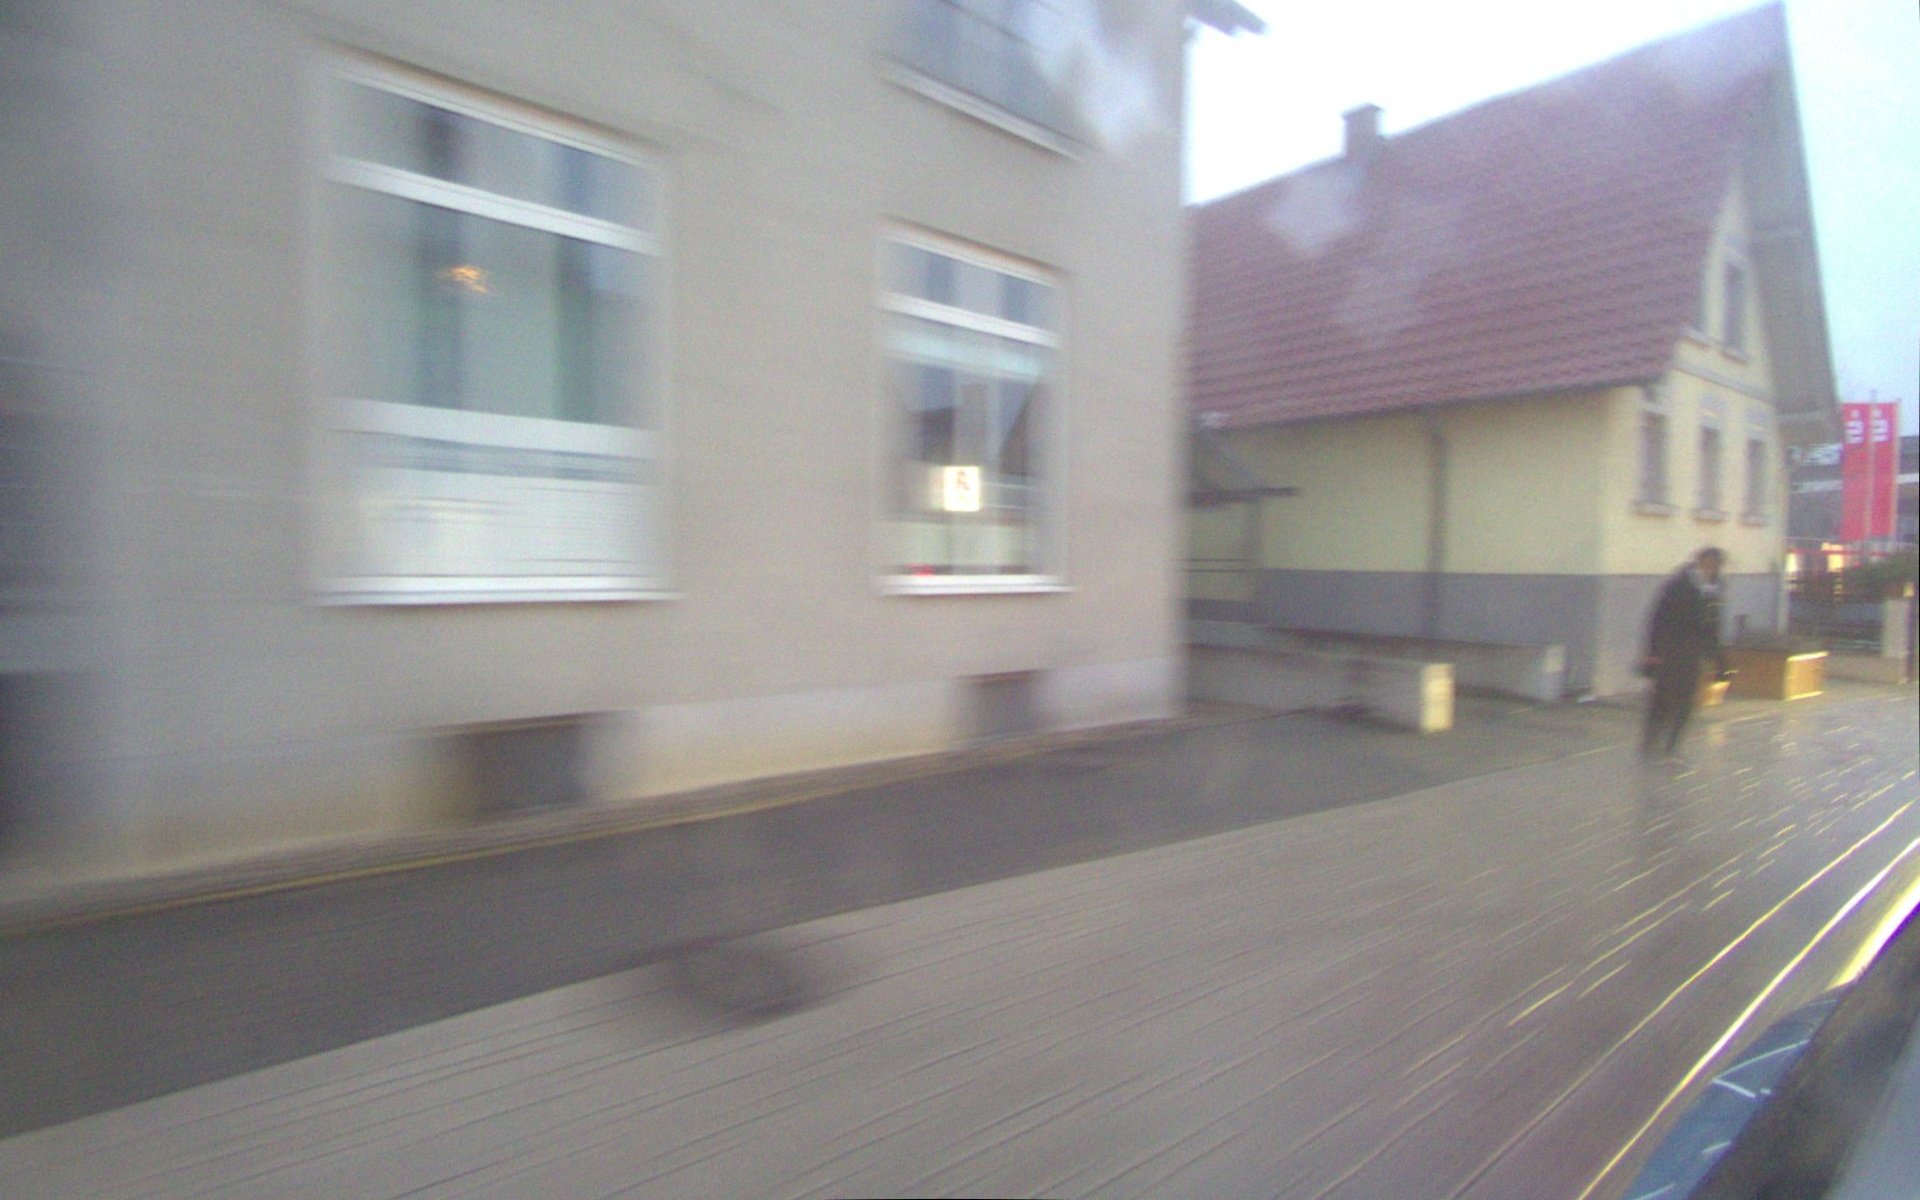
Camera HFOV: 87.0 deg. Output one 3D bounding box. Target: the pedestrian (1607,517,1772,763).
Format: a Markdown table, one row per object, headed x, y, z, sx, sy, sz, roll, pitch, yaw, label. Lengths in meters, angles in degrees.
| x | y | z | sx | sy | sz | roll | pitch | yaw | label |
| --- | --- | --- | --- | --- | --- | --- | --- | --- | --- |
| 5.593 | 0.281 | 7.766 | 0.856 | 1.751 | 0.748 | 1 | 1 | -35 | pedestrian |
